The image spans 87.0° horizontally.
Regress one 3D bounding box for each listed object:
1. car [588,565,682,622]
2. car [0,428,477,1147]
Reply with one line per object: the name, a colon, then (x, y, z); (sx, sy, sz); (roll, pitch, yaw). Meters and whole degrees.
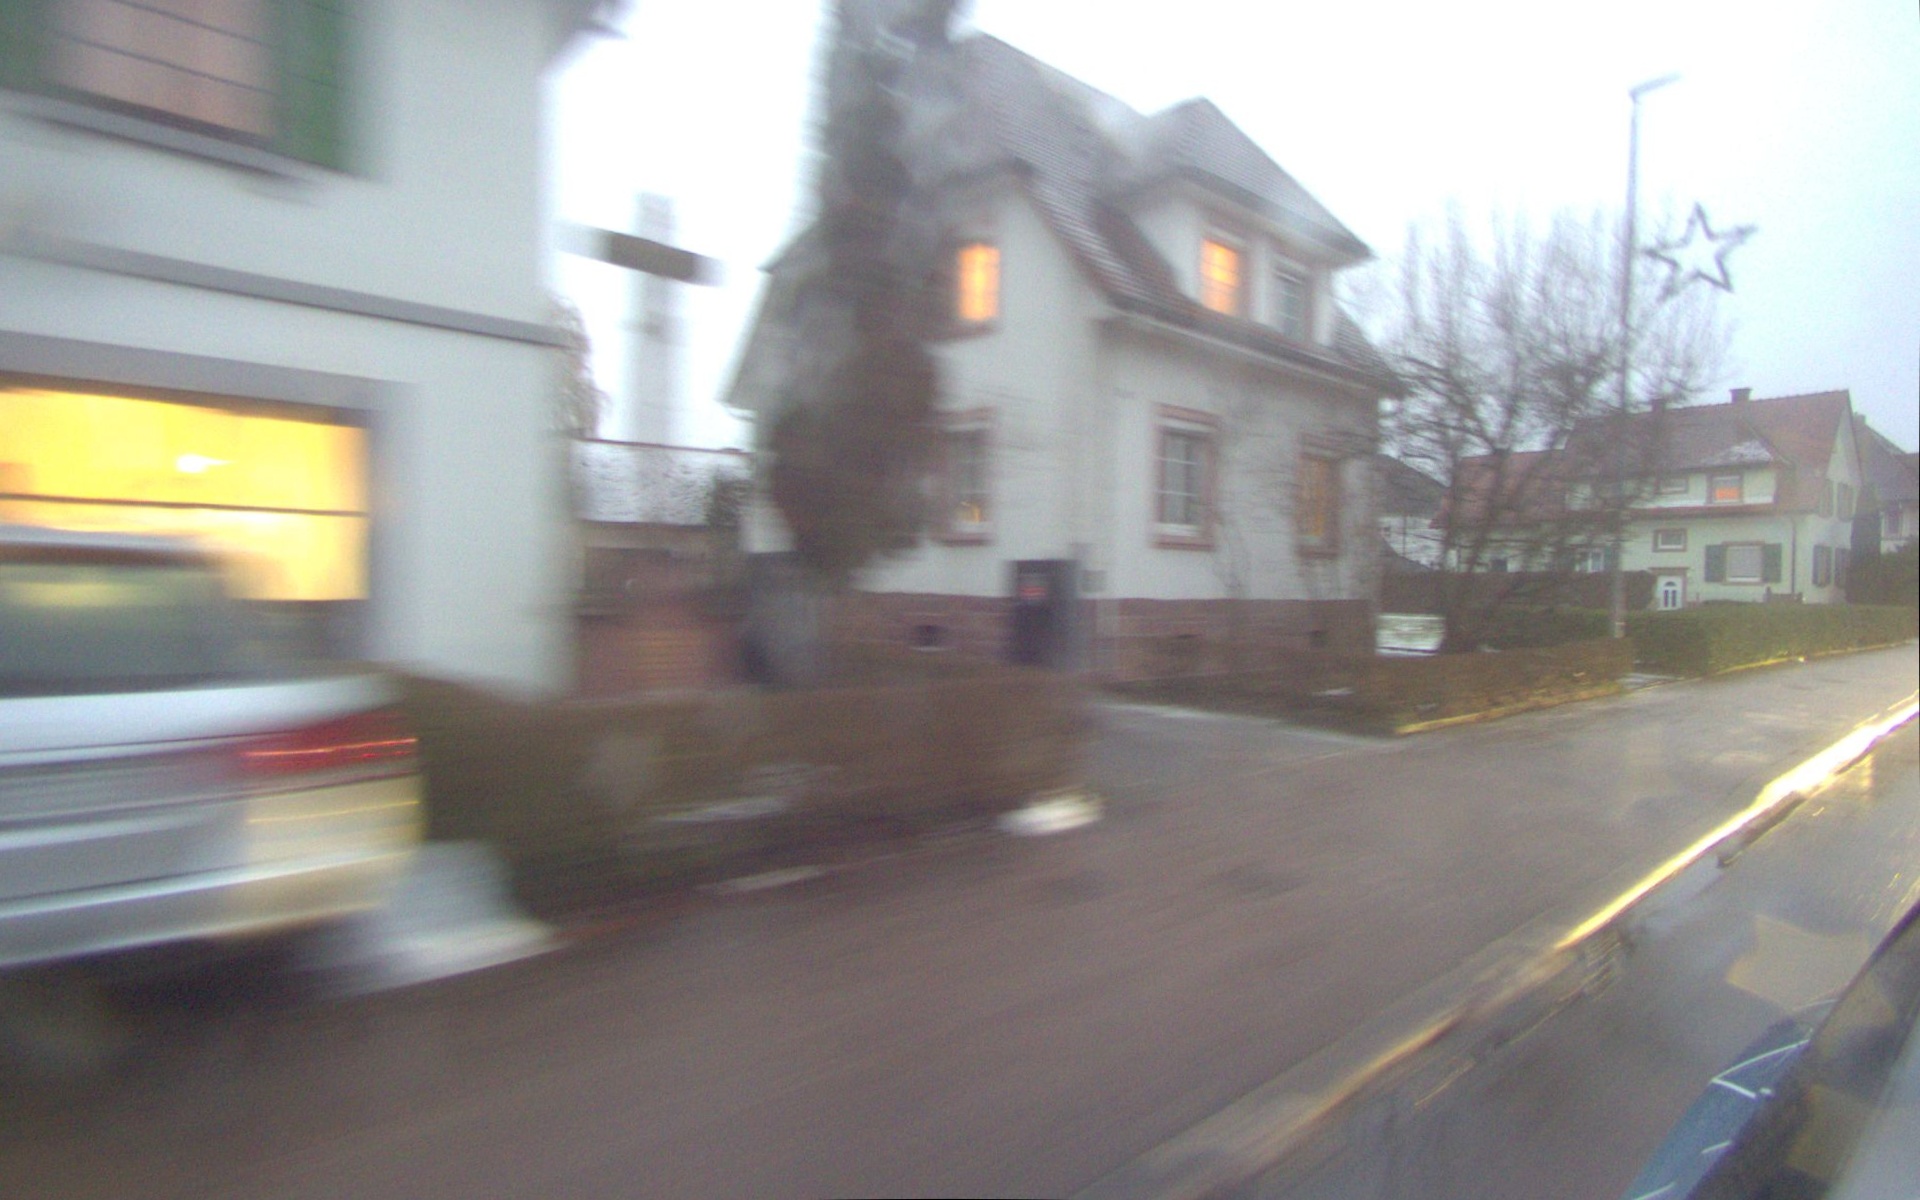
car: (-10.404, -0.207, 32.241); (1.775, 1.683, 4.024); (0, 1, -34)
car: (-3.504, 0.343, 4.295); (1.870, 1.649, 4.751); (1, 2, -35)
